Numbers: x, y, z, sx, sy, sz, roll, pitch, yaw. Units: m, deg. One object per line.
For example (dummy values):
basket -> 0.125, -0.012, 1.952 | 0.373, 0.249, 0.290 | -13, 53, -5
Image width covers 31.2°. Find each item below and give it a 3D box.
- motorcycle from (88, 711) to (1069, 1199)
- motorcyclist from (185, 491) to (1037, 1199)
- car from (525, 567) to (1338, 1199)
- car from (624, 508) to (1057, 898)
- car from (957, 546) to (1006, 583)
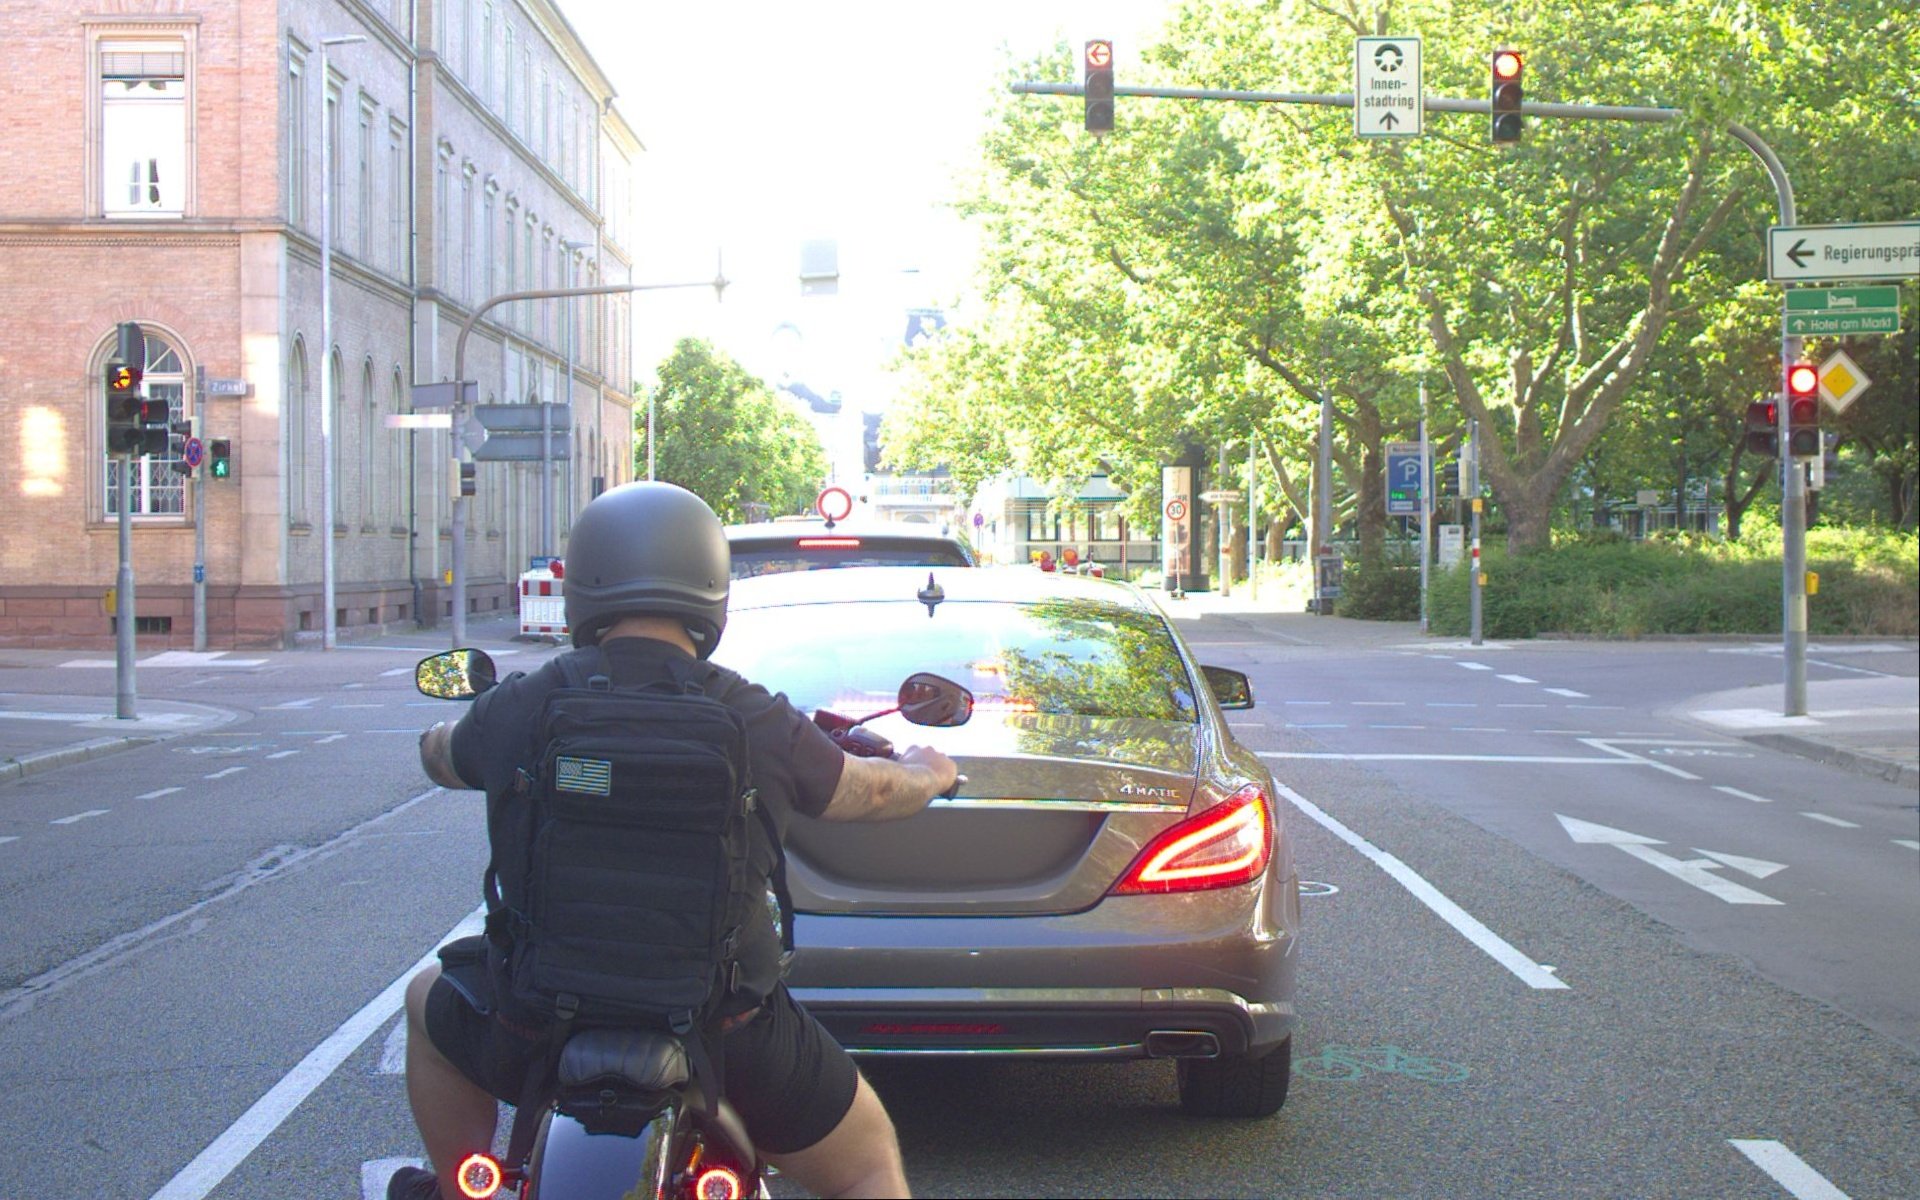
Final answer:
motorcycle -> -0.469, 0.835, 5.522 | 1.118, 1.203, 2.212 | 1, 1, 6
motorcyclist -> -0.483, 0.632, 5.298 | 1.099, 1.560, 1.071 | 1, 0, 6
car -> -0.085, 0.637, 9.686 | 1.822, 1.432, 3.806 | 1, 1, -1
car -> -0.544, 0.429, 16.964 | 1.863, 1.672, 4.000 | 1, 1, -1
car -> 0.730, -1.239, 119.442 | 1.631, 1.255, 3.716 | 1, 1, -1
